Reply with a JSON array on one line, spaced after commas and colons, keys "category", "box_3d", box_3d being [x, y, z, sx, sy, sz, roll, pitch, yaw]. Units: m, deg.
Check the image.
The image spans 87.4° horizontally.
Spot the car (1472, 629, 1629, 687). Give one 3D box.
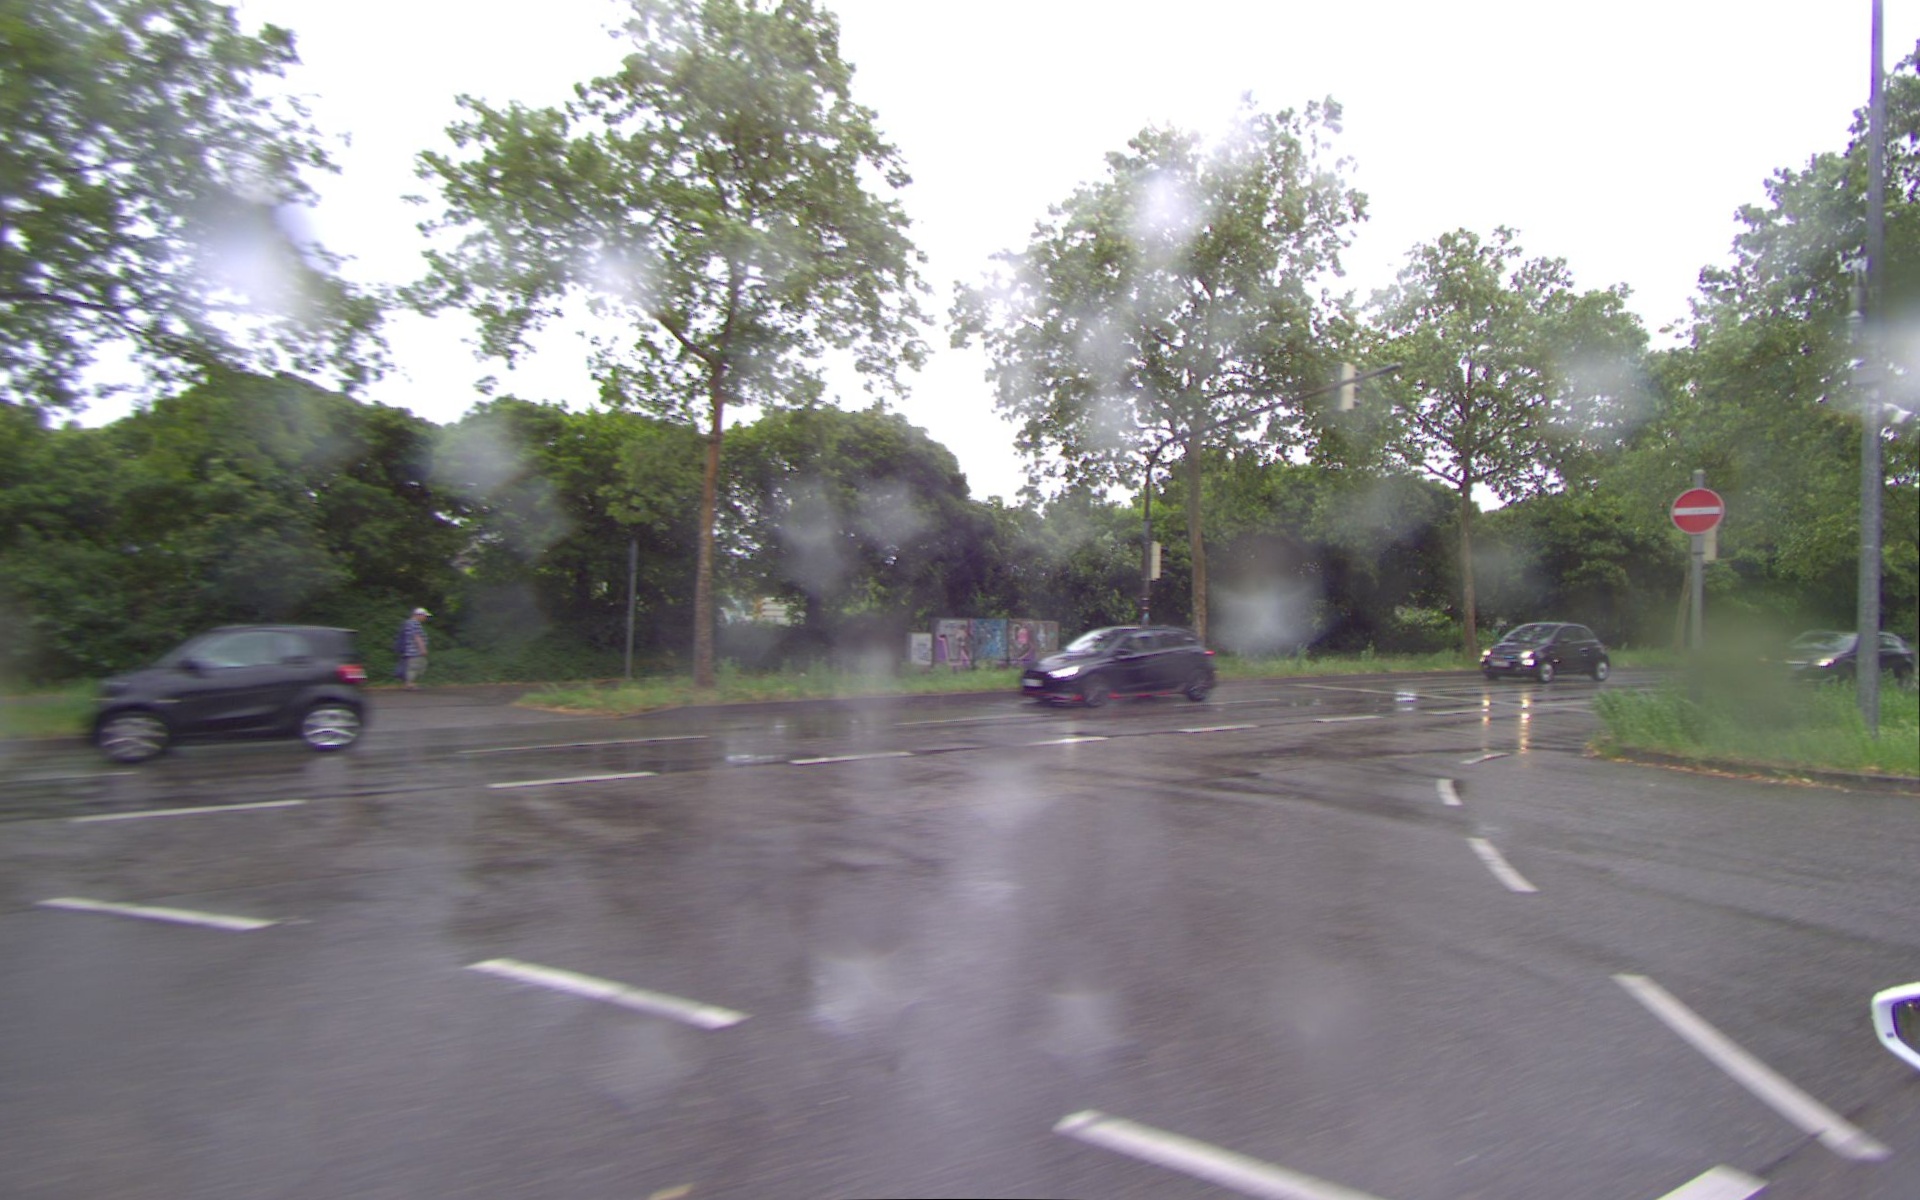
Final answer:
[{"category": "car", "box_3d": [15.456, 1.493, 26.265, 4.208, 1.391, 1.581, 2, -1, -28]}]

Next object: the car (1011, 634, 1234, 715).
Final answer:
[{"category": "car", "box_3d": [3.170, 1.386, 19.363, 4.212, 1.391, 1.580, 2, -1, -30]}]

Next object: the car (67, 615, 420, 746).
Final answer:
[{"category": "car", "box_3d": [-8.527, 0.910, 12.286, 3.297, 1.391, 1.579, 2, -1, -32]}]

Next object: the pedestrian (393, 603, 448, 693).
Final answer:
[{"category": "pedestrian", "box_3d": [-10.477, 0.918, 19.489, 0.889, 1.696, 0.827, 1, -1, -30]}]

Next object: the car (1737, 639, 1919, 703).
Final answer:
[{"category": "car", "box_3d": [22.396, 1.759, 25.601, 4.921, 1.471, 1.999, 1, -1, -23]}]
